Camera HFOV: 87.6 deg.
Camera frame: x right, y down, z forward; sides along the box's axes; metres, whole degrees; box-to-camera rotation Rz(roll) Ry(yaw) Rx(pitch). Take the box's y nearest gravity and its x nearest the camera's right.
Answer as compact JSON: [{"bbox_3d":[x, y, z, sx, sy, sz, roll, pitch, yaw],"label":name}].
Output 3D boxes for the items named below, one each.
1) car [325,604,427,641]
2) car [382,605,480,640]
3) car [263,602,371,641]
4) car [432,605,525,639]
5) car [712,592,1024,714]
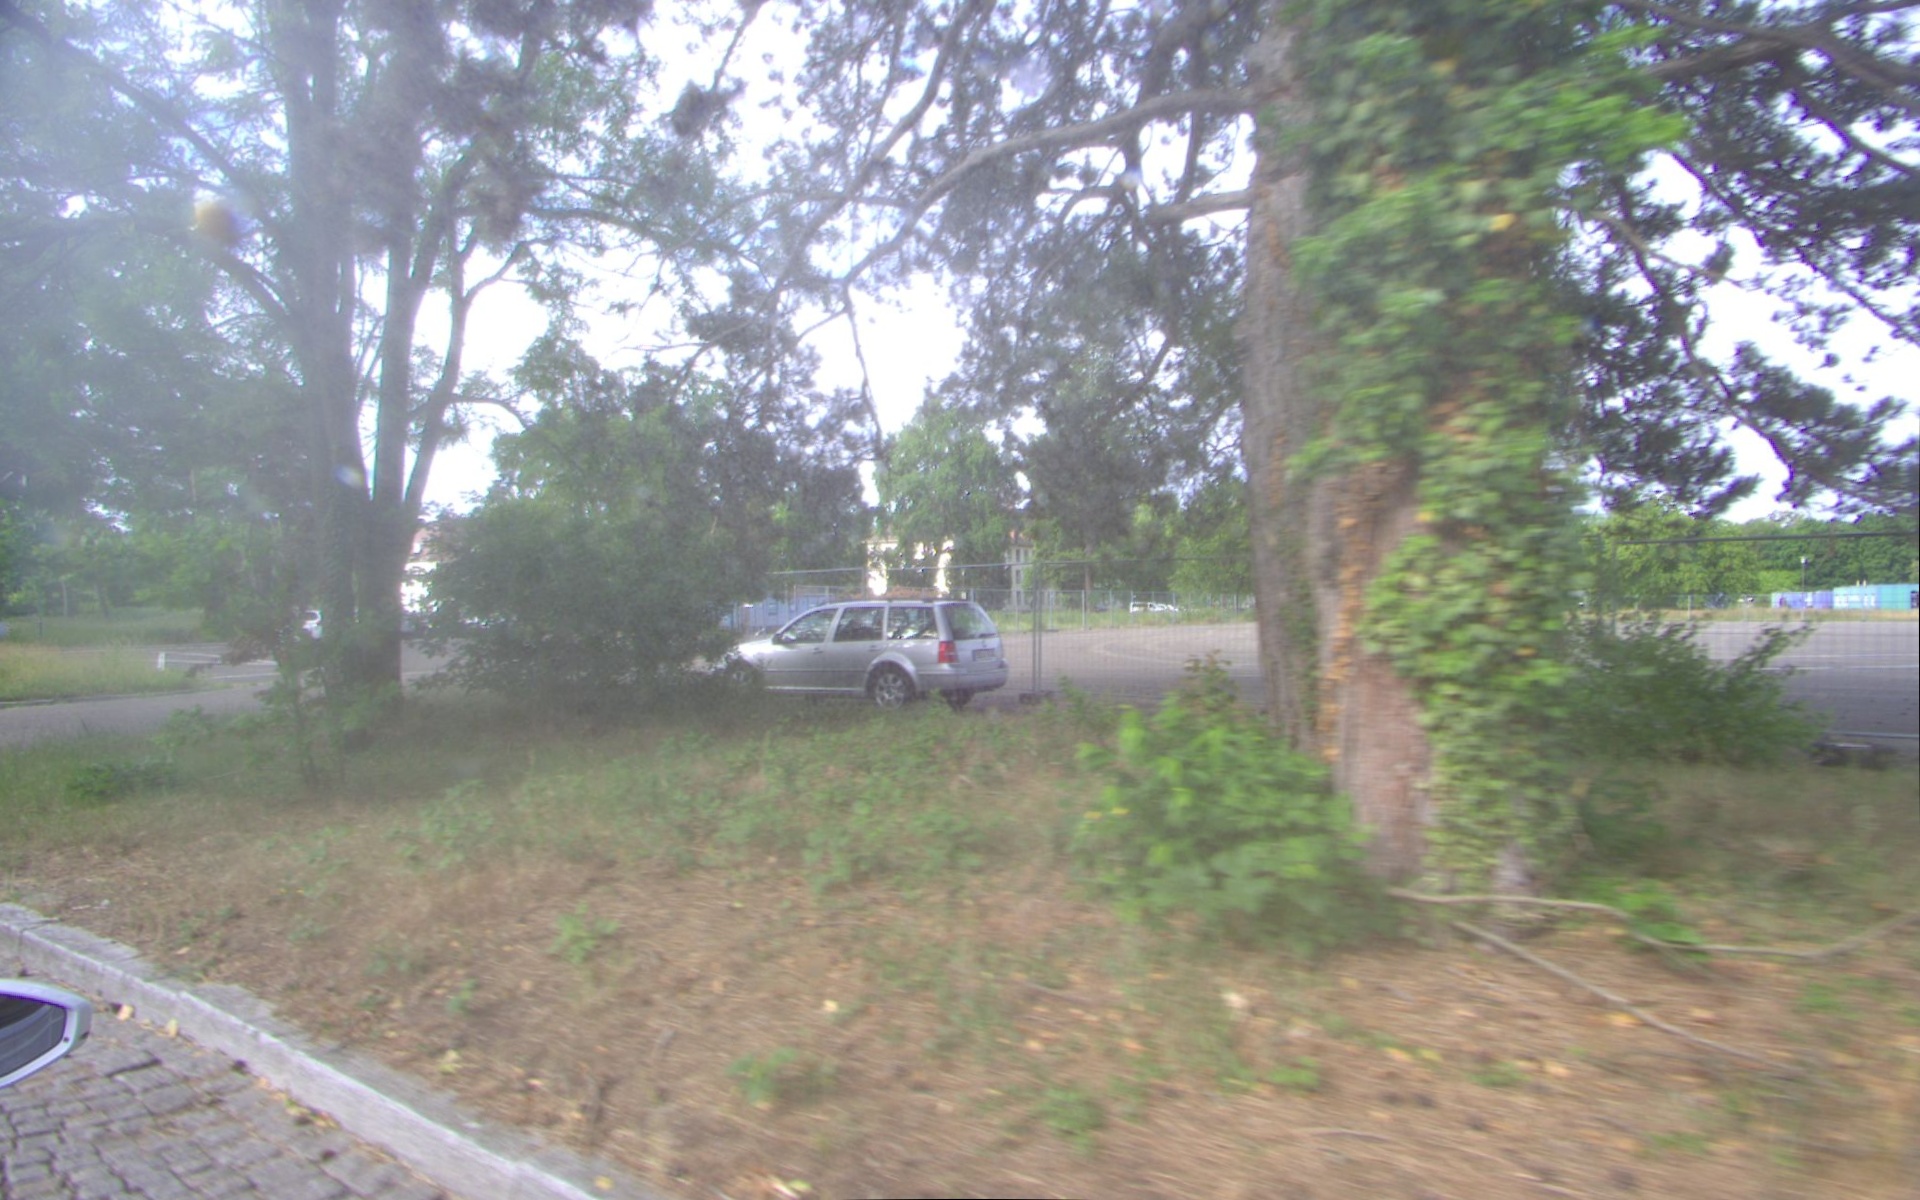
[{"bbox_3d":[-25.937,0.988,44.449,4.359,1.500,1.991,-2,-1,29],"label":"car"},{"bbox_3d":[-24.765,1.064,46.863,4.359,1.500,1.991,-2,-1,29],"label":"car"},{"bbox_3d":[-27.123,0.917,42.223,4.359,1.500,1.991,-2,-1,29],"label":"car"},{"bbox_3d":[-23.744,1.123,49.376,4.359,1.542,1.992,-2,-2,29],"label":"car"},{"bbox_3d":[-1.295,0.679,13.577,4.013,1.444,1.644,0,-3,31],"label":"car"}]
